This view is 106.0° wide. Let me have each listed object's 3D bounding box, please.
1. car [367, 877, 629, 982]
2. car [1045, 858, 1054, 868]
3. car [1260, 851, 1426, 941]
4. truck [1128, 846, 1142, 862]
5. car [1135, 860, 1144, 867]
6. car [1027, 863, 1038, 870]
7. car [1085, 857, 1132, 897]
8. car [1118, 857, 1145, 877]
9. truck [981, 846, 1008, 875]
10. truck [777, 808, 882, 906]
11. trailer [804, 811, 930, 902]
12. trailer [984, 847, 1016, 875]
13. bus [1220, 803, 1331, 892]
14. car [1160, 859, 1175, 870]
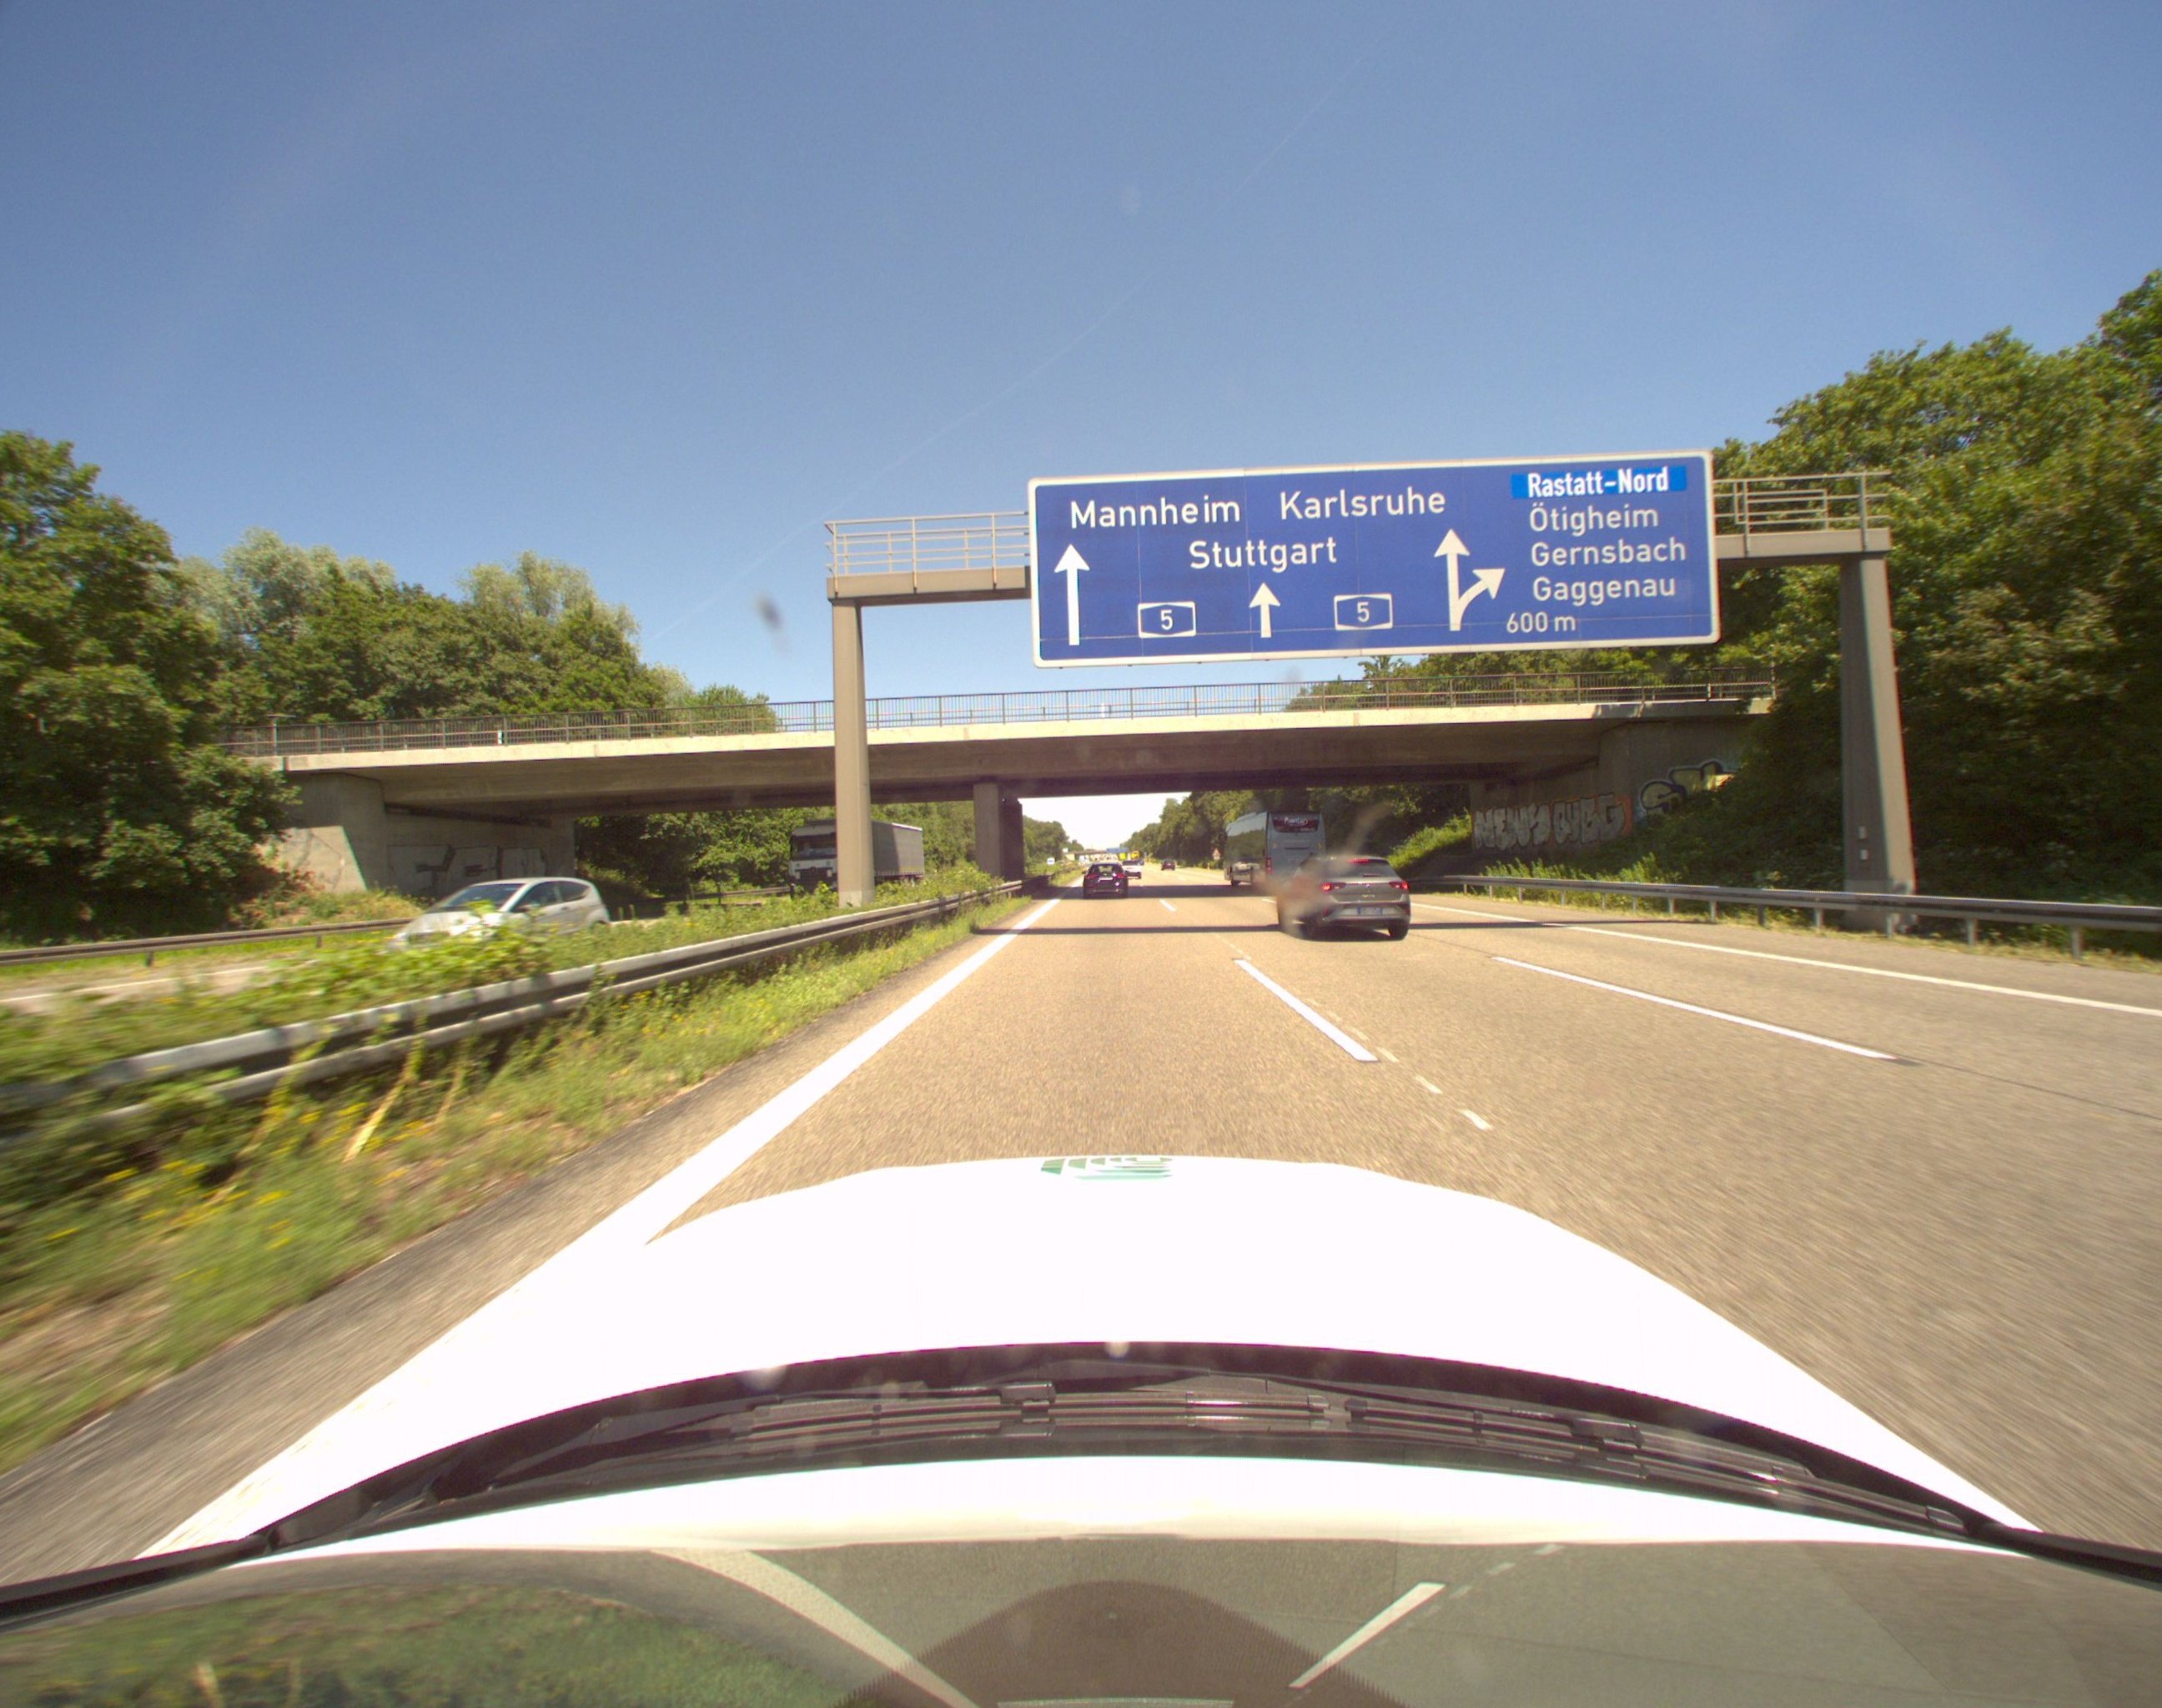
[{"bbox_3d":[-10.826,1.303,15.596,1.893,1.553,4.240,-2,0,0],"label":"car"},{"bbox_3d":[-9.311,2.669,242.608,2.079,2.552,6.230,-3,0,2],"label":"car"},{"bbox_3d":[5.067,0.735,16.513,1.892,1.532,4.760,-1,0,1],"label":"car"},{"bbox_3d":[15.987,0.143,242.144,3.634,4.590,15.768,0,-1,1],"label":"truck"},{"bbox_3d":[13.876,2.212,192.449,2.072,1.532,4.244,-1,0,3],"label":"car"},{"bbox_3d":[-10.172,2.584,170.750,1.841,1.450,4.872,-3,0,1],"label":"car"},{"bbox_3d":[1.084,0.889,33.046,1.793,1.502,4.242,-1,0,1],"label":"car"},{"bbox_3d":[3.995,1.021,65.003,1.892,1.532,4.242,-1,0,1],"label":"car"},{"bbox_3d":[-12.963,1.000,122.056,3.205,4.059,5.620,-2,-1,1],"label":"truck"},{"bbox_3d":[-11.957,0.142,39.370,2.818,4.211,5.891,-4,0,2],"label":"truck"},{"bbox_3d":[-11.702,0.148,46.514,2.818,4.224,13.842,-4,0,2],"label":"trailer"},{"bbox_3d":[-12.756,1.055,129.253,3.205,4.059,12.745,-2,-1,2],"label":"trailer"},{"bbox_3d":[9.026,-0.218,39.622,2.791,3.596,12.480,-1,0,2],"label":"bus"},{"bbox_3d":[11.643,1.425,109.527,1.782,1.461,3.952,-1,0,3],"label":"car"}]
